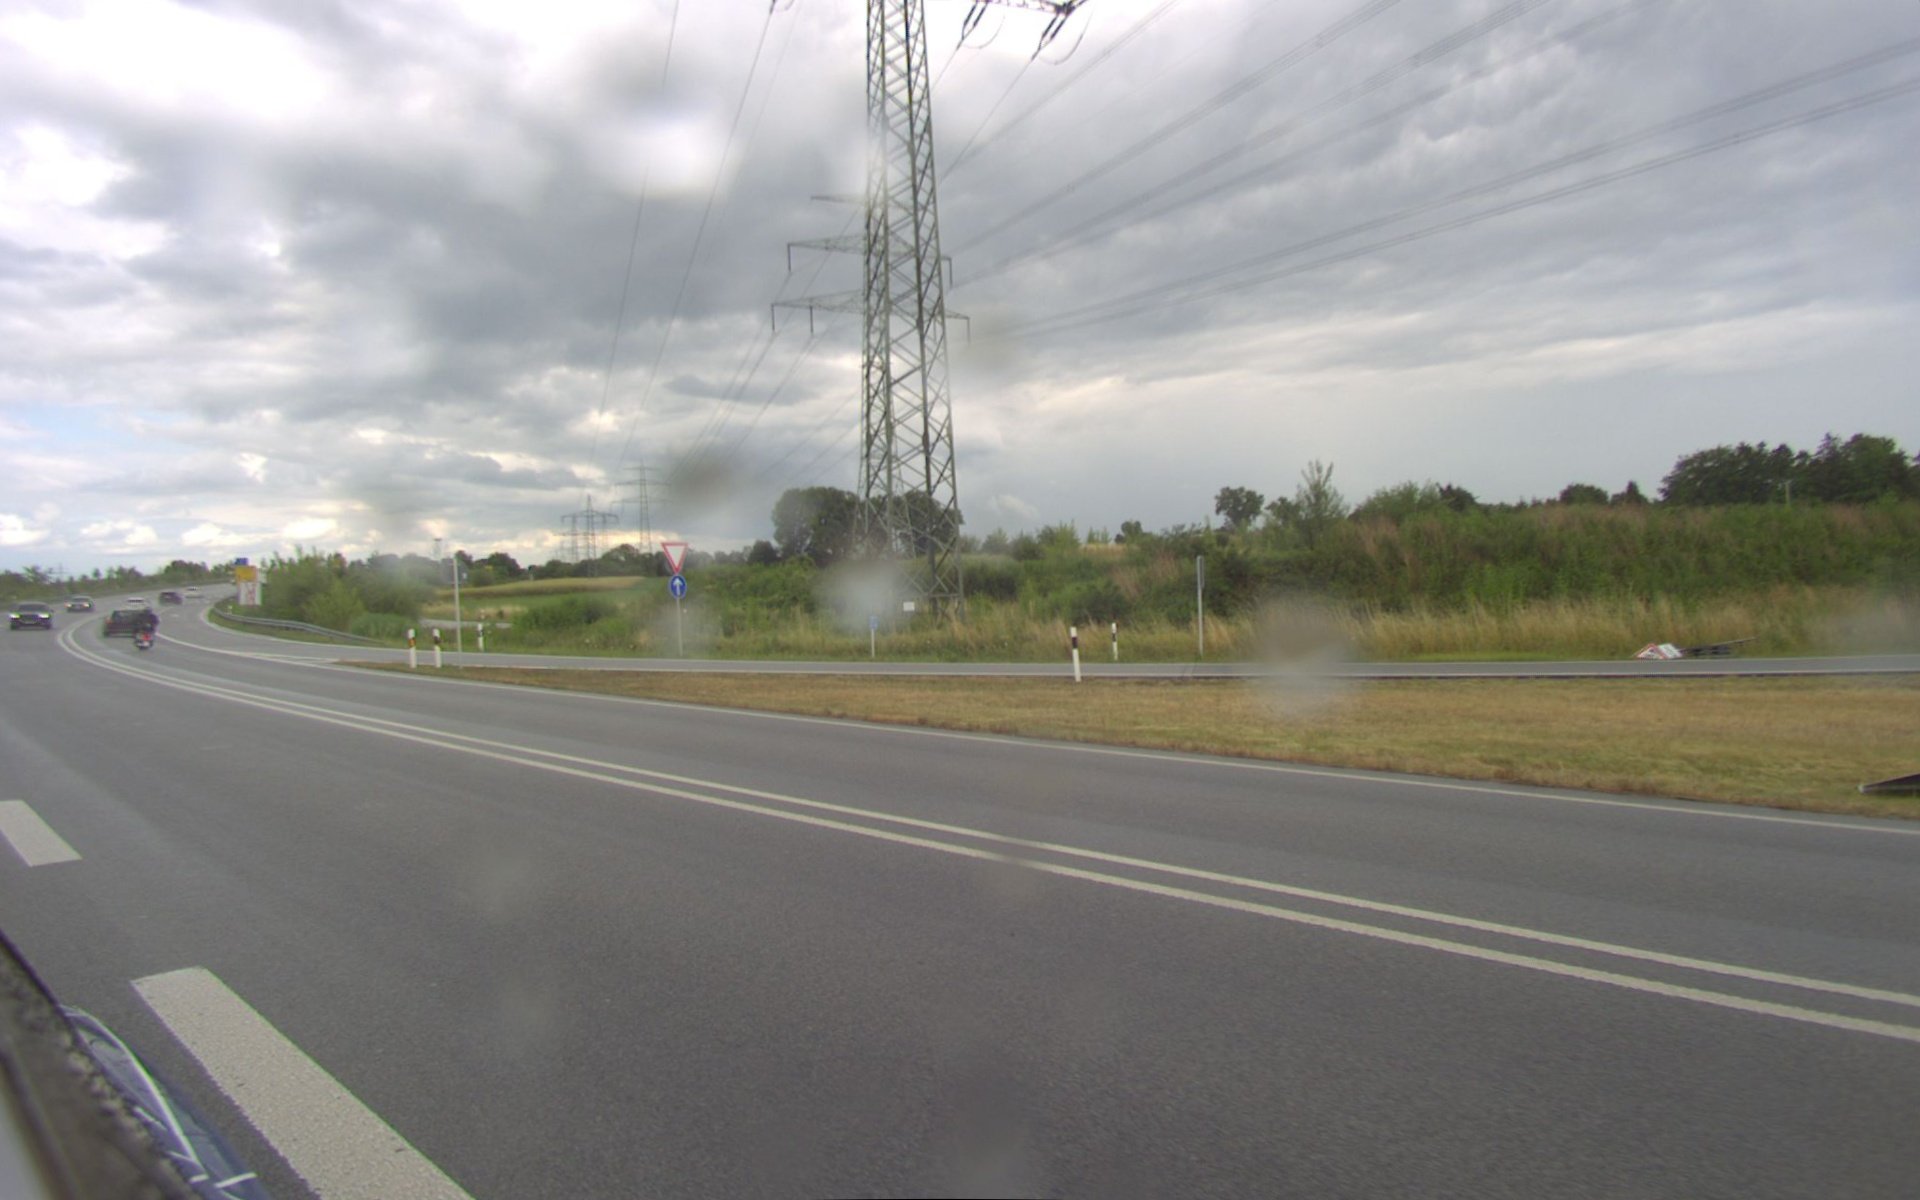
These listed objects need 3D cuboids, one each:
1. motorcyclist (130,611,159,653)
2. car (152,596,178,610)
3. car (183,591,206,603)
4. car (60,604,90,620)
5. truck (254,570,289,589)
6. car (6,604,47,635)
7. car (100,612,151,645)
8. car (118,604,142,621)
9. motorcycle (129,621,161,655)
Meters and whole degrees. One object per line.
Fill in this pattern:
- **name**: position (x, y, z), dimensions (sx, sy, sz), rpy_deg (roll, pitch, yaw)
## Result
- **motorcyclist**: position (-30.614, 1.186, 37.991), dimensions (0.792, 1.547, 0.825), rpy_deg (-1, -1, -42)
- **car**: position (-92.456, 0.325, 117.717), dimensions (1.774, 1.586, 4.272), rpy_deg (1, 0, -31)
- **car**: position (-106.624, -0.430, 141.001), dimensions (1.656, 1.468, 4.088), rpy_deg (3, -1, -24)
- **car**: position (-84.380, 1.123, 96.519), dimensions (1.721, 1.508, 4.060), rpy_deg (-2, 1, -36)
- **truck**: position (-120.879, -3.507, 177.765), dimensions (2.228, 3.179, 6.701), rpy_deg (1, 0, -7)
- **car**: position (-56.992, 1.178, 61.831), dimensions (1.770, 1.782, 4.005), rpy_deg (-2, 1, -42)
- **car**: position (-43.097, 1.431, 52.358), dimensions (1.776, 1.606, 4.235), rpy_deg (0, 0, -36)
- **car**: position (-77.877, 1.146, 94.922), dimensions (1.684, 1.491, 4.619), rpy_deg (-1, 1, -40)
- **motorcycle**: position (-30.638, 1.416, 38.033), dimensions (0.792, 1.247, 2.187), rpy_deg (-1, -1, -43)
